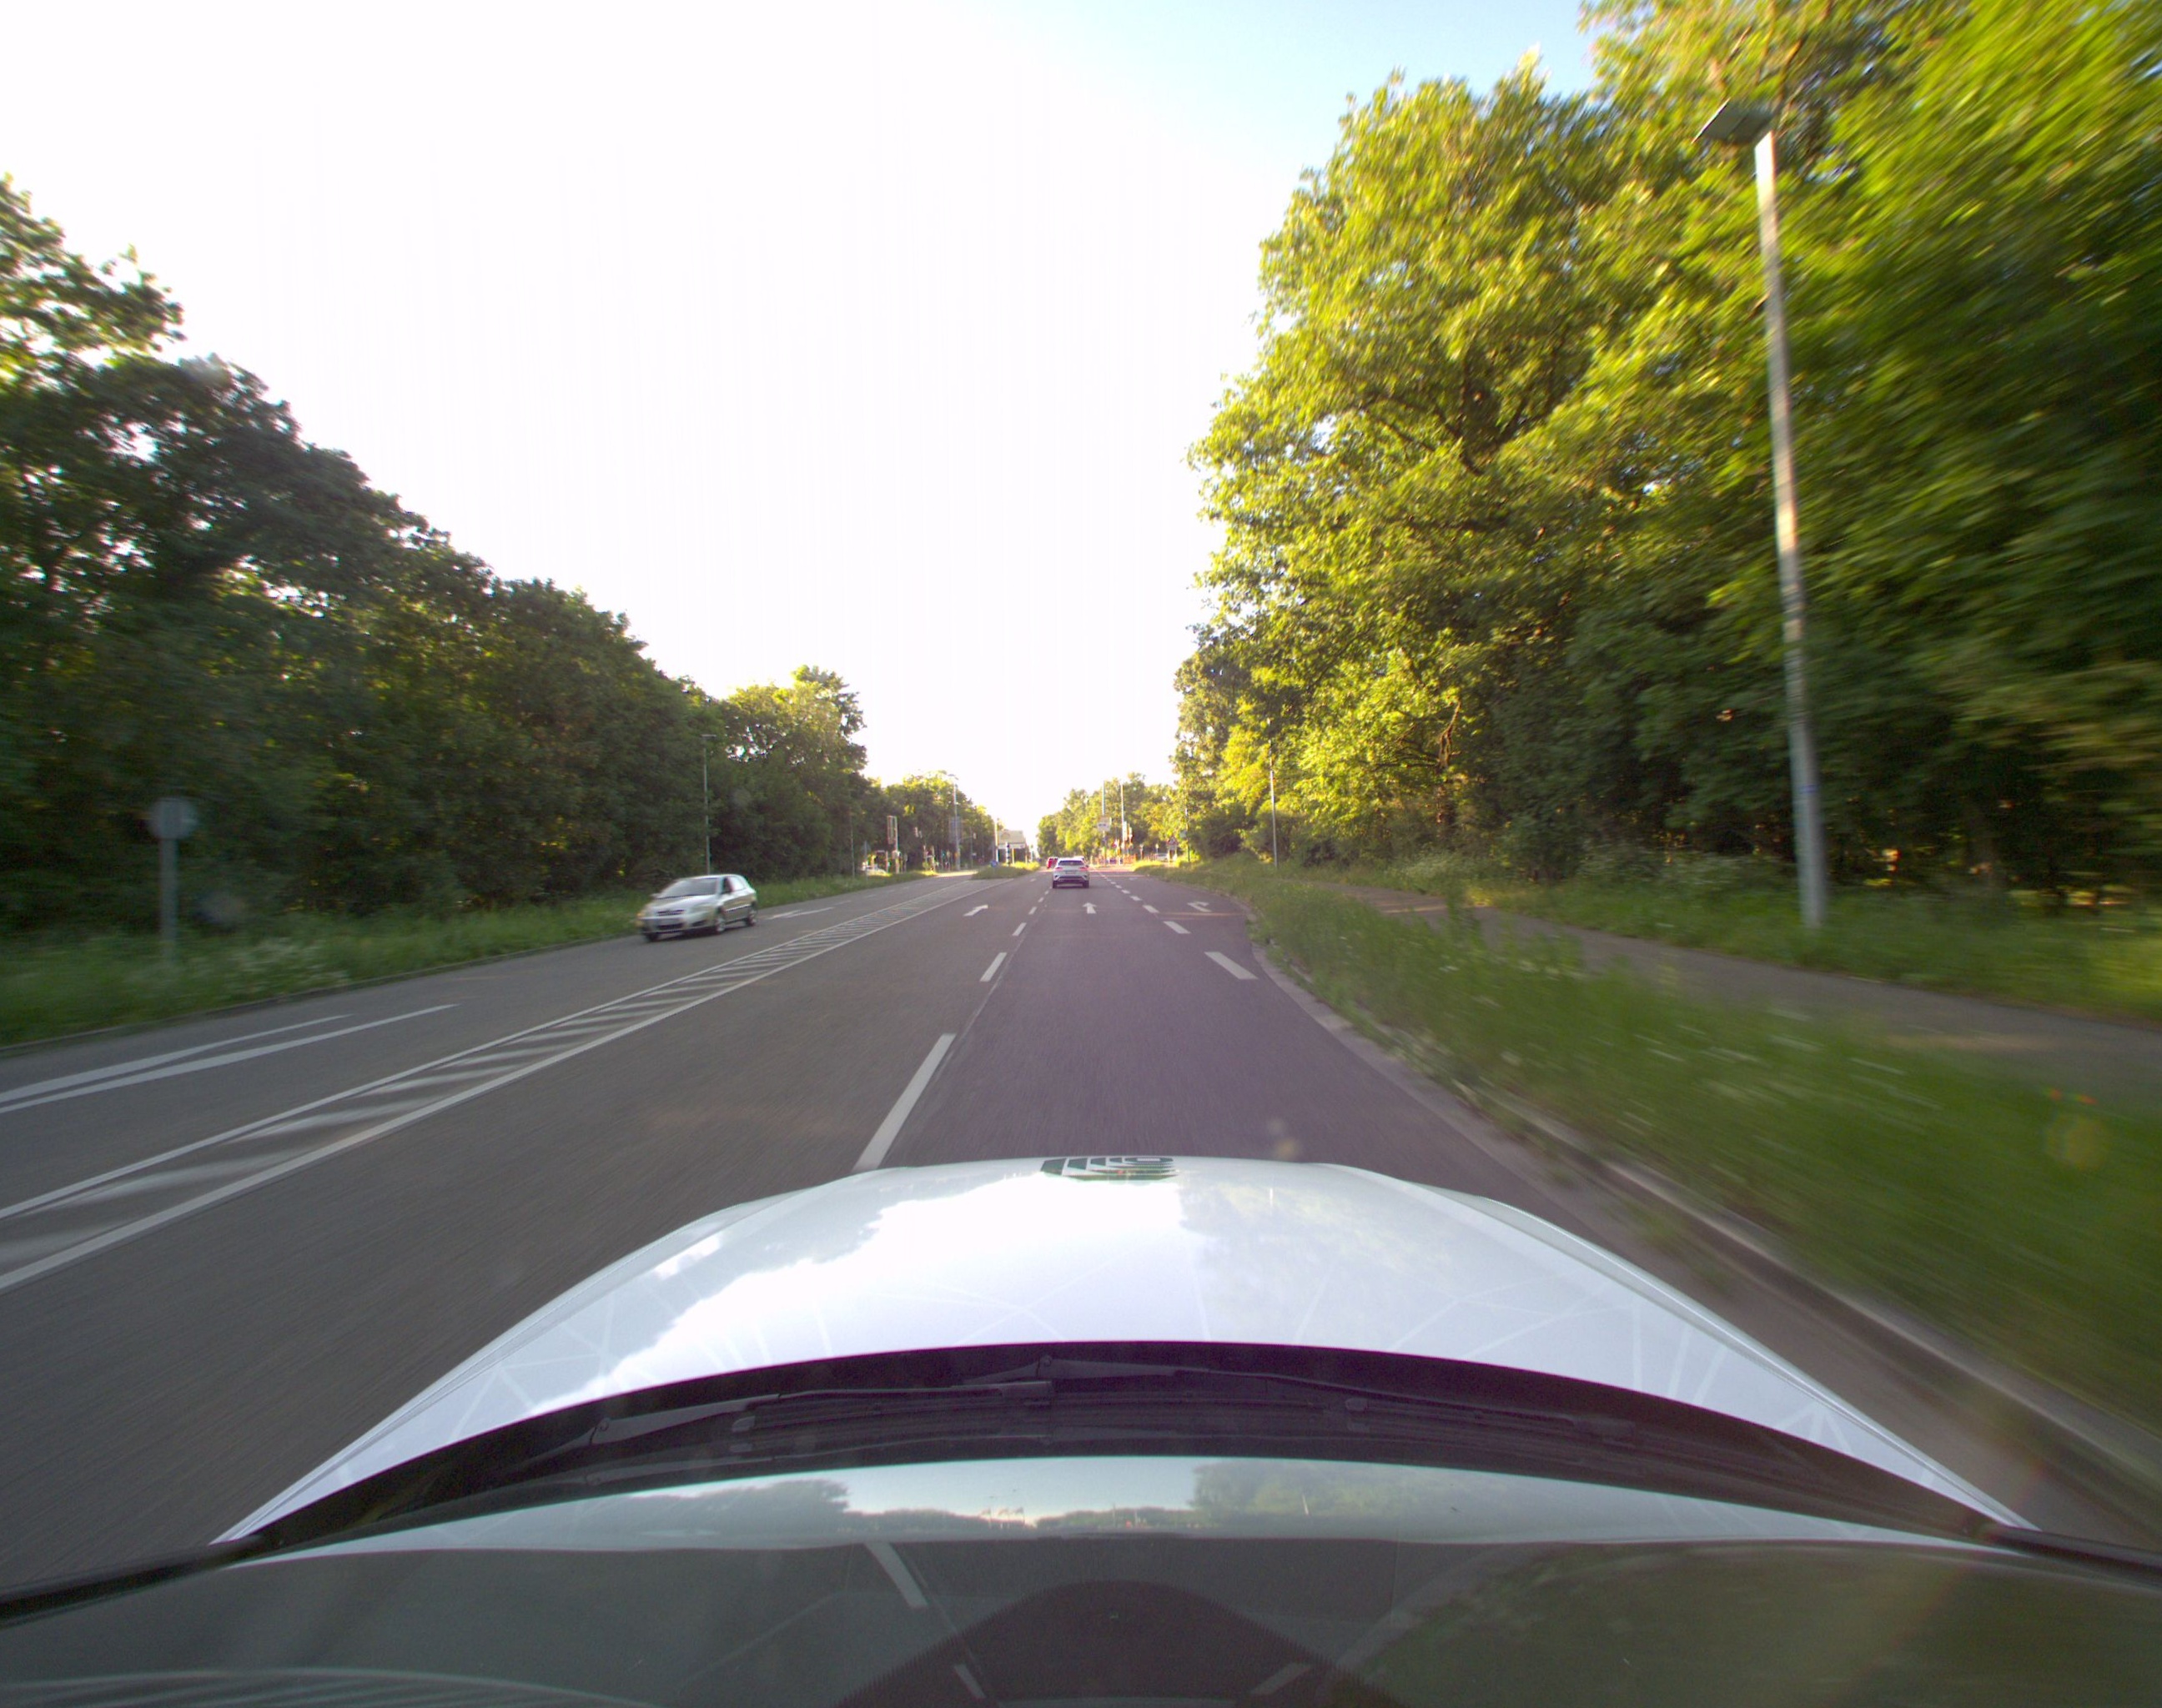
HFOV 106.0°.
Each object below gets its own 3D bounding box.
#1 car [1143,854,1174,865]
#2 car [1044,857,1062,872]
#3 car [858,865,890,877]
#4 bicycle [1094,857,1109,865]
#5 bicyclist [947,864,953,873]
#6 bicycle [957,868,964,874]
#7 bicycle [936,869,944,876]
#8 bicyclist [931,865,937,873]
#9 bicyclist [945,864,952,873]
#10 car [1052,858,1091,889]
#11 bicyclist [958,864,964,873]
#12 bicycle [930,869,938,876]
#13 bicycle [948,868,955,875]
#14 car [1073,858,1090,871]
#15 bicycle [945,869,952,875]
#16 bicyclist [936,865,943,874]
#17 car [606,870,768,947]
[{"bbox_3d":[13.094,0.966,137.988,4.838,1.580,1.985,-2,-1,-23],"label":"car"},{"bbox_3d":[-3.459,1.269,100.486,1.990,1.684,3.993,-2,0,-5],"label":"car"},{"bbox_3d":[-28.047,2.292,110.195,3.808,1.389,1.911,-2,-1,-27],"label":"car"},{"bbox_3d":[3.566,1.219,141.979,2.650,1.383,0.958,-1,0,-33],"label":"bicycle"},{"bbox_3d":[-20.698,2.334,129.108,0.712,1.342,0.991,-2,-1,2],"label":"bicyclist"},{"bbox_3d":[-18.836,2.684,127.439,0.712,0.914,1.912,-2,0,2],"label":"bicycle"},{"bbox_3d":[-21.949,2.855,126.602,0.712,0.914,1.912,-2,0,2],"label":"bicycle"},{"bbox_3d":[-22.882,2.294,126.664,0.712,1.192,0.991,-2,-1,2],"label":"bicyclist"},{"bbox_3d":[-20.726,2.335,127.470,0.712,1.356,0.991,-2,-1,2],"label":"bicyclist"},{"bbox_3d":[-0.494,0.955,41.230,1.858,1.444,3.998,-1,-1,-1],"label":"car"},{"bbox_3d":[-18.846,2.291,127.502,0.712,1.339,0.991,-2,-1,2],"label":"bicyclist"},{"bbox_3d":[-22.856,2.886,126.657,0.712,0.914,1.912,-2,0,2],"label":"bicycle"},{"bbox_3d":[-20.659,2.776,129.562,0.712,0.914,1.912,-2,0,2],"label":"bicycle"},{"bbox_3d":[0.051,1.208,93.130,1.934,1.414,3.999,-2,0,0],"label":"car"},{"bbox_3d":[-20.709,2.769,127.469,0.712,0.914,1.912,-2,0,2],"label":"bicycle"},{"bbox_3d":[-21.975,2.374,126.573,0.708,1.389,0.991,-2,-1,2],"label":"bicyclist"},{"bbox_3d":[-9.423,1.234,19.936,1.824,1.455,4.476,-5,0,-2],"label":"car"}]
